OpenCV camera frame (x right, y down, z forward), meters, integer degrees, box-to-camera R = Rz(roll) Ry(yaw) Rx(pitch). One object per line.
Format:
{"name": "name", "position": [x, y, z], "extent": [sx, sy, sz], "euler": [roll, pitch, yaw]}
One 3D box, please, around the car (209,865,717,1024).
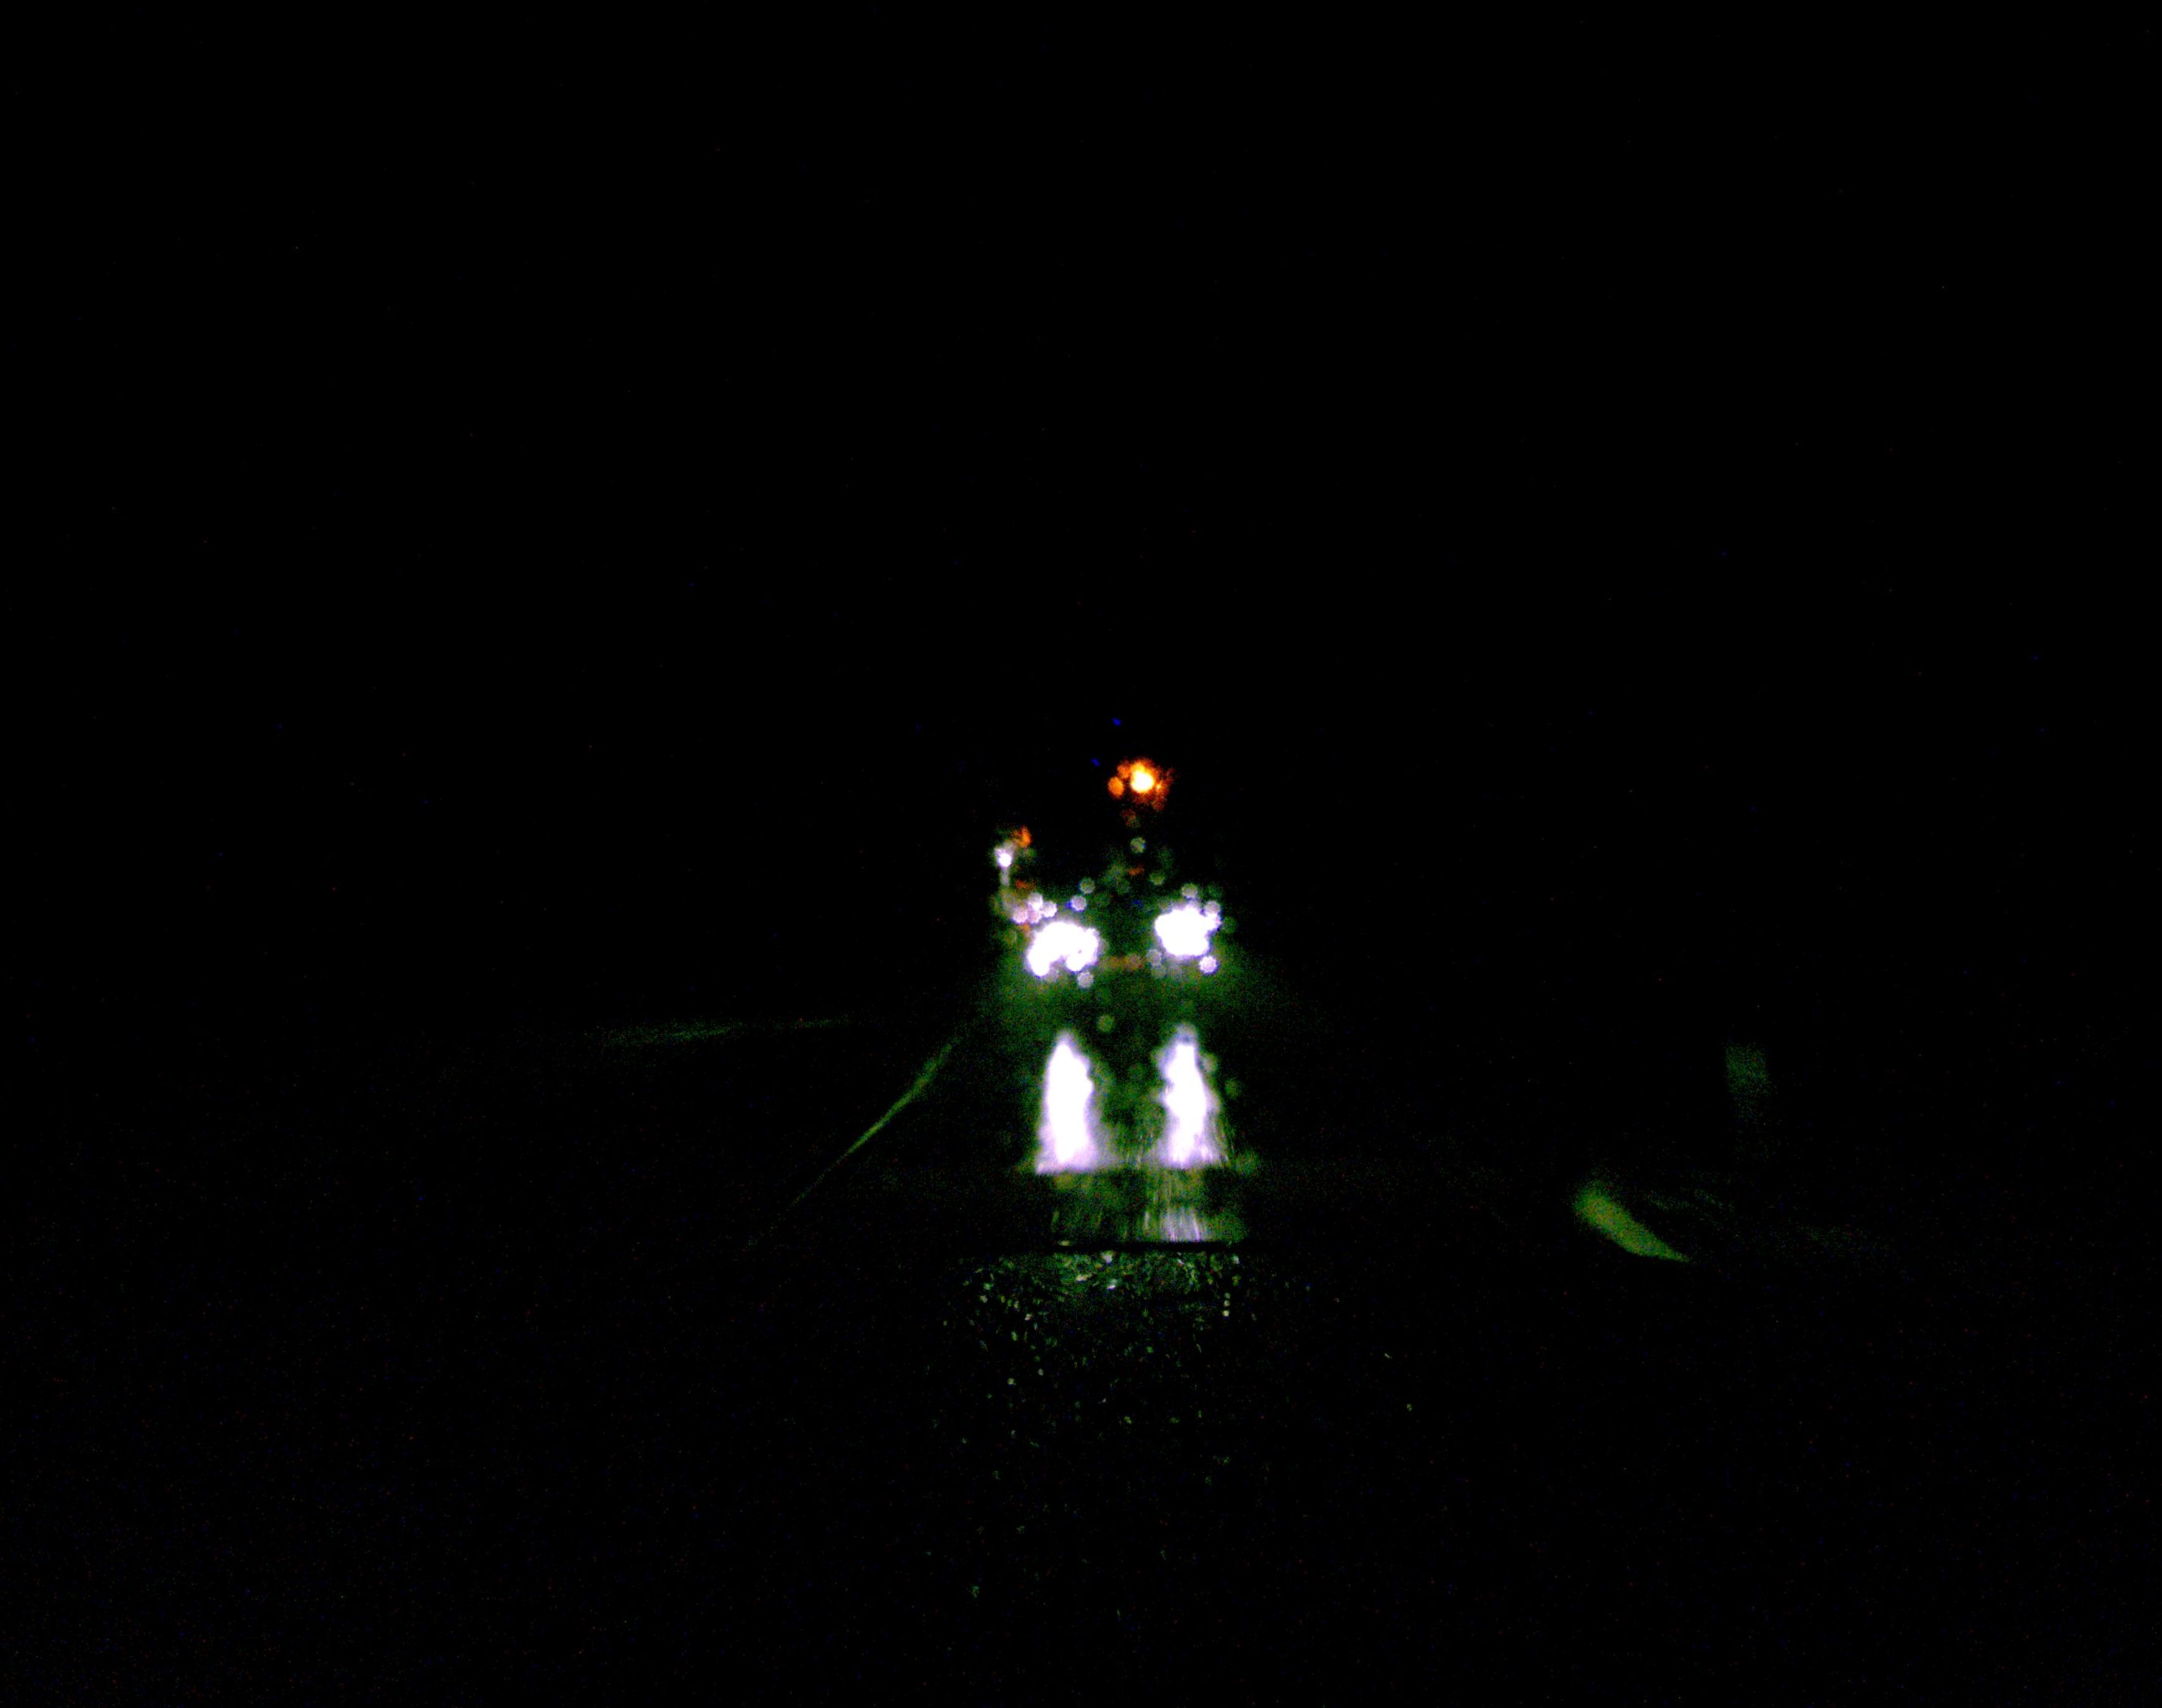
{"name": "car", "position": [-6.989, 0.964, 8.926], "extent": [4.477, 1.576, 1.940], "euler": [1, -2, 4]}

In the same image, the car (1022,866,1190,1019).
{"name": "car", "position": [0.285, 1.063, 10.995], "extent": [1.893, 1.678, 4.339], "euler": [-2, 0, 0]}
